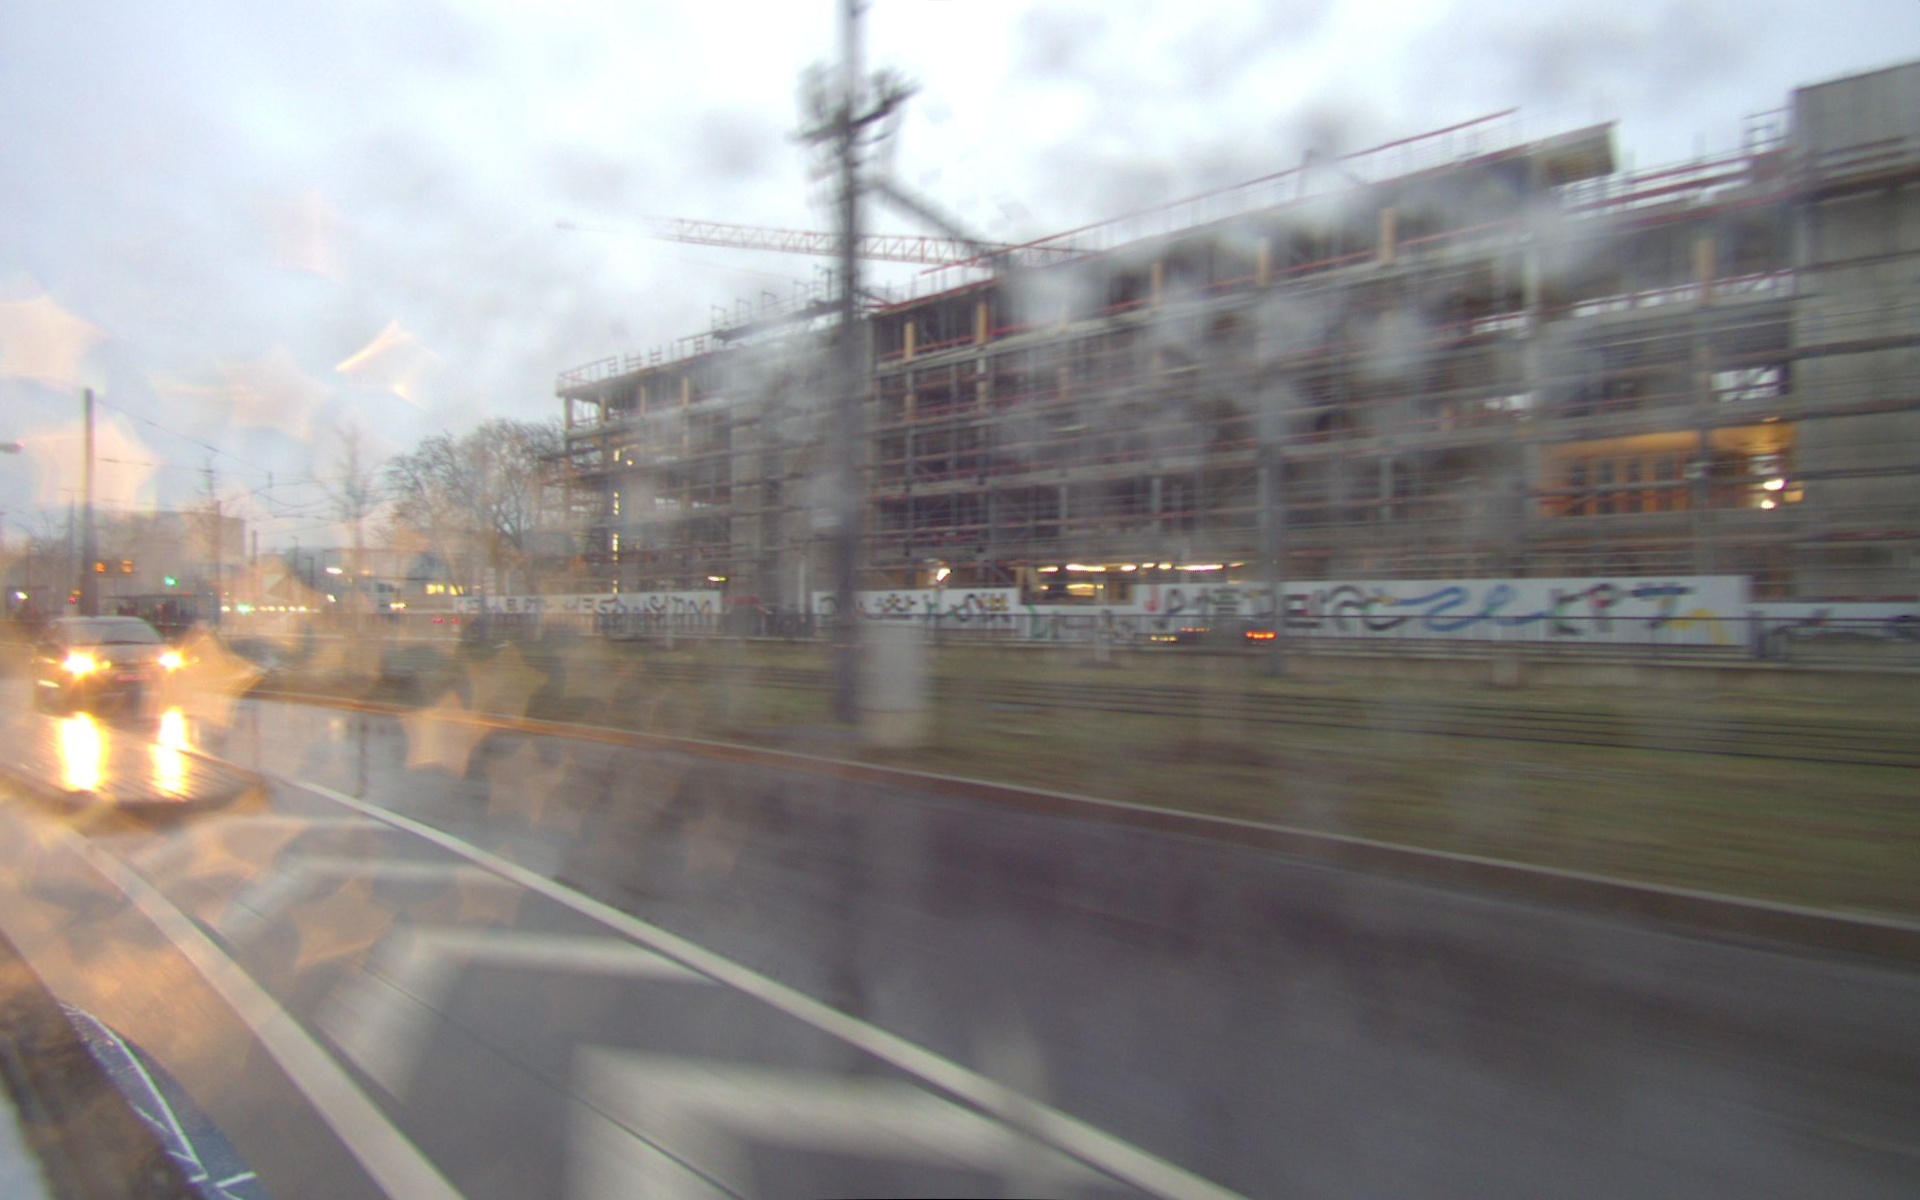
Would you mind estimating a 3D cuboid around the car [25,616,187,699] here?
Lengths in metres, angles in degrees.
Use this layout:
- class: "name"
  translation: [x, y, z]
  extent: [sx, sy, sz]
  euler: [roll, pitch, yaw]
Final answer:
- class: "car"
  translation: [-16.832, 1.074, 19.884]
  extent: [4.002, 1.464, 1.786]
  euler: [-1, -2, 40]

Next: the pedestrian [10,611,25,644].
- class: "pedestrian"
  translation: [-49.474, 1.453, 53.131]
  extent: [0.577, 1.714, 0.741]
  euler: [0, -1, -41]

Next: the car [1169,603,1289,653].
- class: "car"
  translation: [9.541, 0.972, 36.022]
  extent: [3.761, 1.675, 1.737]
  euler: [-1, -1, 40]

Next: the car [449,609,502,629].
- class: "car"
  translation: [-34.584, 1.362, 72.192]
  extent: [4.335, 1.425, 1.666]
  euler: [-2, -1, 39]
